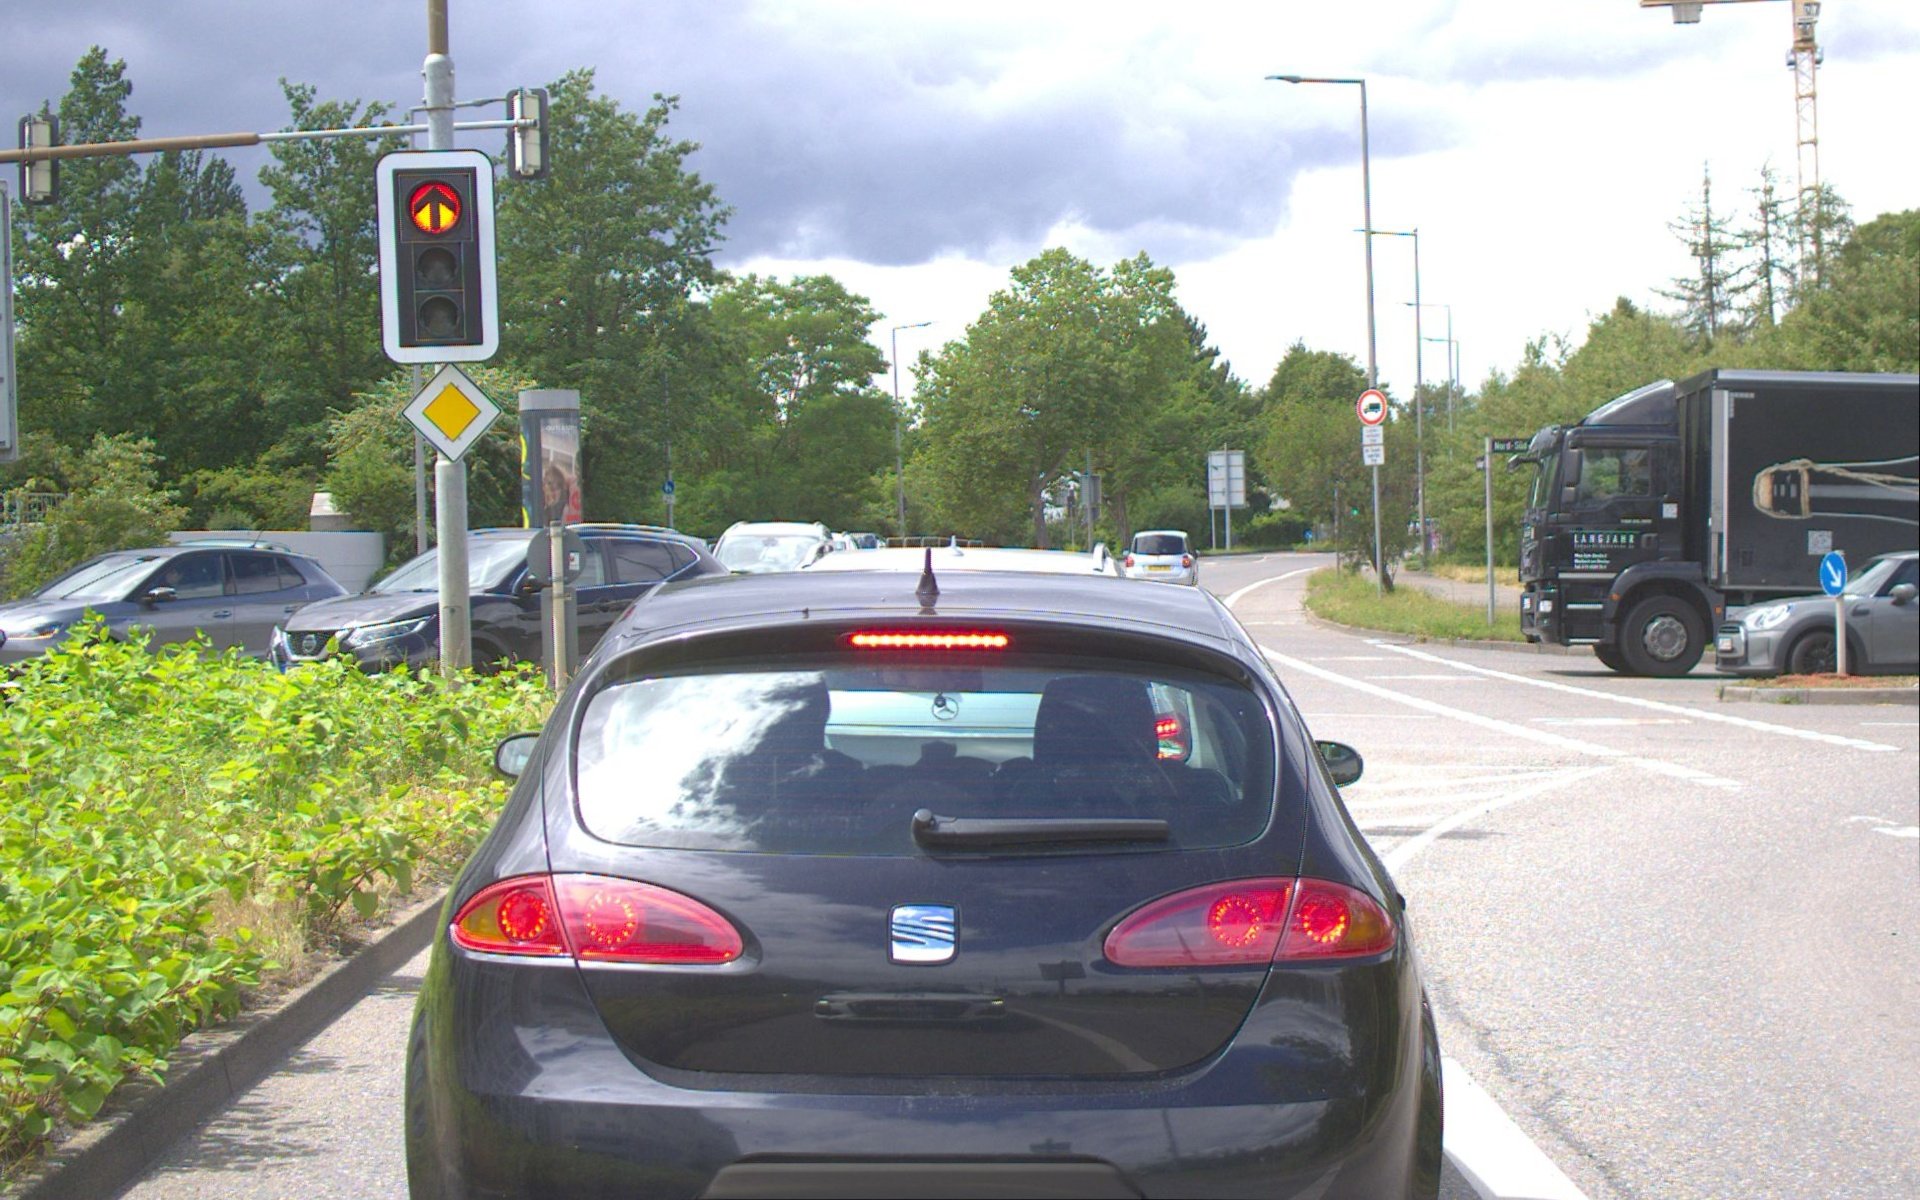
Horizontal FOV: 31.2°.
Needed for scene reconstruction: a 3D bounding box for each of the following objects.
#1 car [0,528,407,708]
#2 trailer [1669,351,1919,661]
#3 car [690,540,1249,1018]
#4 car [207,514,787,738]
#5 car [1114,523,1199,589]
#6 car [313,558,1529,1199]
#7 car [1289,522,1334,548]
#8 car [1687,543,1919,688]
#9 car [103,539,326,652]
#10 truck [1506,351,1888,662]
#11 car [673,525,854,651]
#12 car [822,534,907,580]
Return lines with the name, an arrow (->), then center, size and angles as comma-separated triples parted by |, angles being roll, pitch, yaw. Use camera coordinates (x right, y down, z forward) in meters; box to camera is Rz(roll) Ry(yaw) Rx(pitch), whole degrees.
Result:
car -> -7.506, 0.124, 31.931 | 1.999, 1.520, 4.307 | 0, 1, 44
trailer -> 12.065, -1.066, 39.133 | 7.585, 3.446, 2.000 | 0, 1, 3
car -> -0.053, 0.545, 12.909 | 1.773, 1.486, 3.583 | -2, 1, -3
car -> -3.597, 0.148, 27.319 | 1.998, 1.610, 4.308 | 0, 1, 41
car -> 4.741, -1.085, 82.965 | 1.994, 1.525, 4.000 | 0, 1, 3
car -> -0.081, 0.660, 6.820 | 1.773, 1.447, 3.582 | 0, 1, -1
car -> 18.603, -3.452, 181.910 | 1.994, 1.347, 3.998 | 0, 1, 11
car -> 9.639, 0.132, 35.065 | 3.986, 1.415, 2.000 | 0, 1, -2
car -> -9.421, -0.095, 43.732 | 1.993, 1.347, 4.000 | 0, 1, -1
truck -> 8.365, -1.058, 39.293 | 3.987, 3.457, 2.000 | 0, 1, 3
car -> -2.562, -0.196, 45.656 | 1.994, 1.590, 4.000 | 0, 1, 3
car -> -2.895, -1.314, 104.922 | 1.994, 1.347, 3.999 | 0, 1, 8
